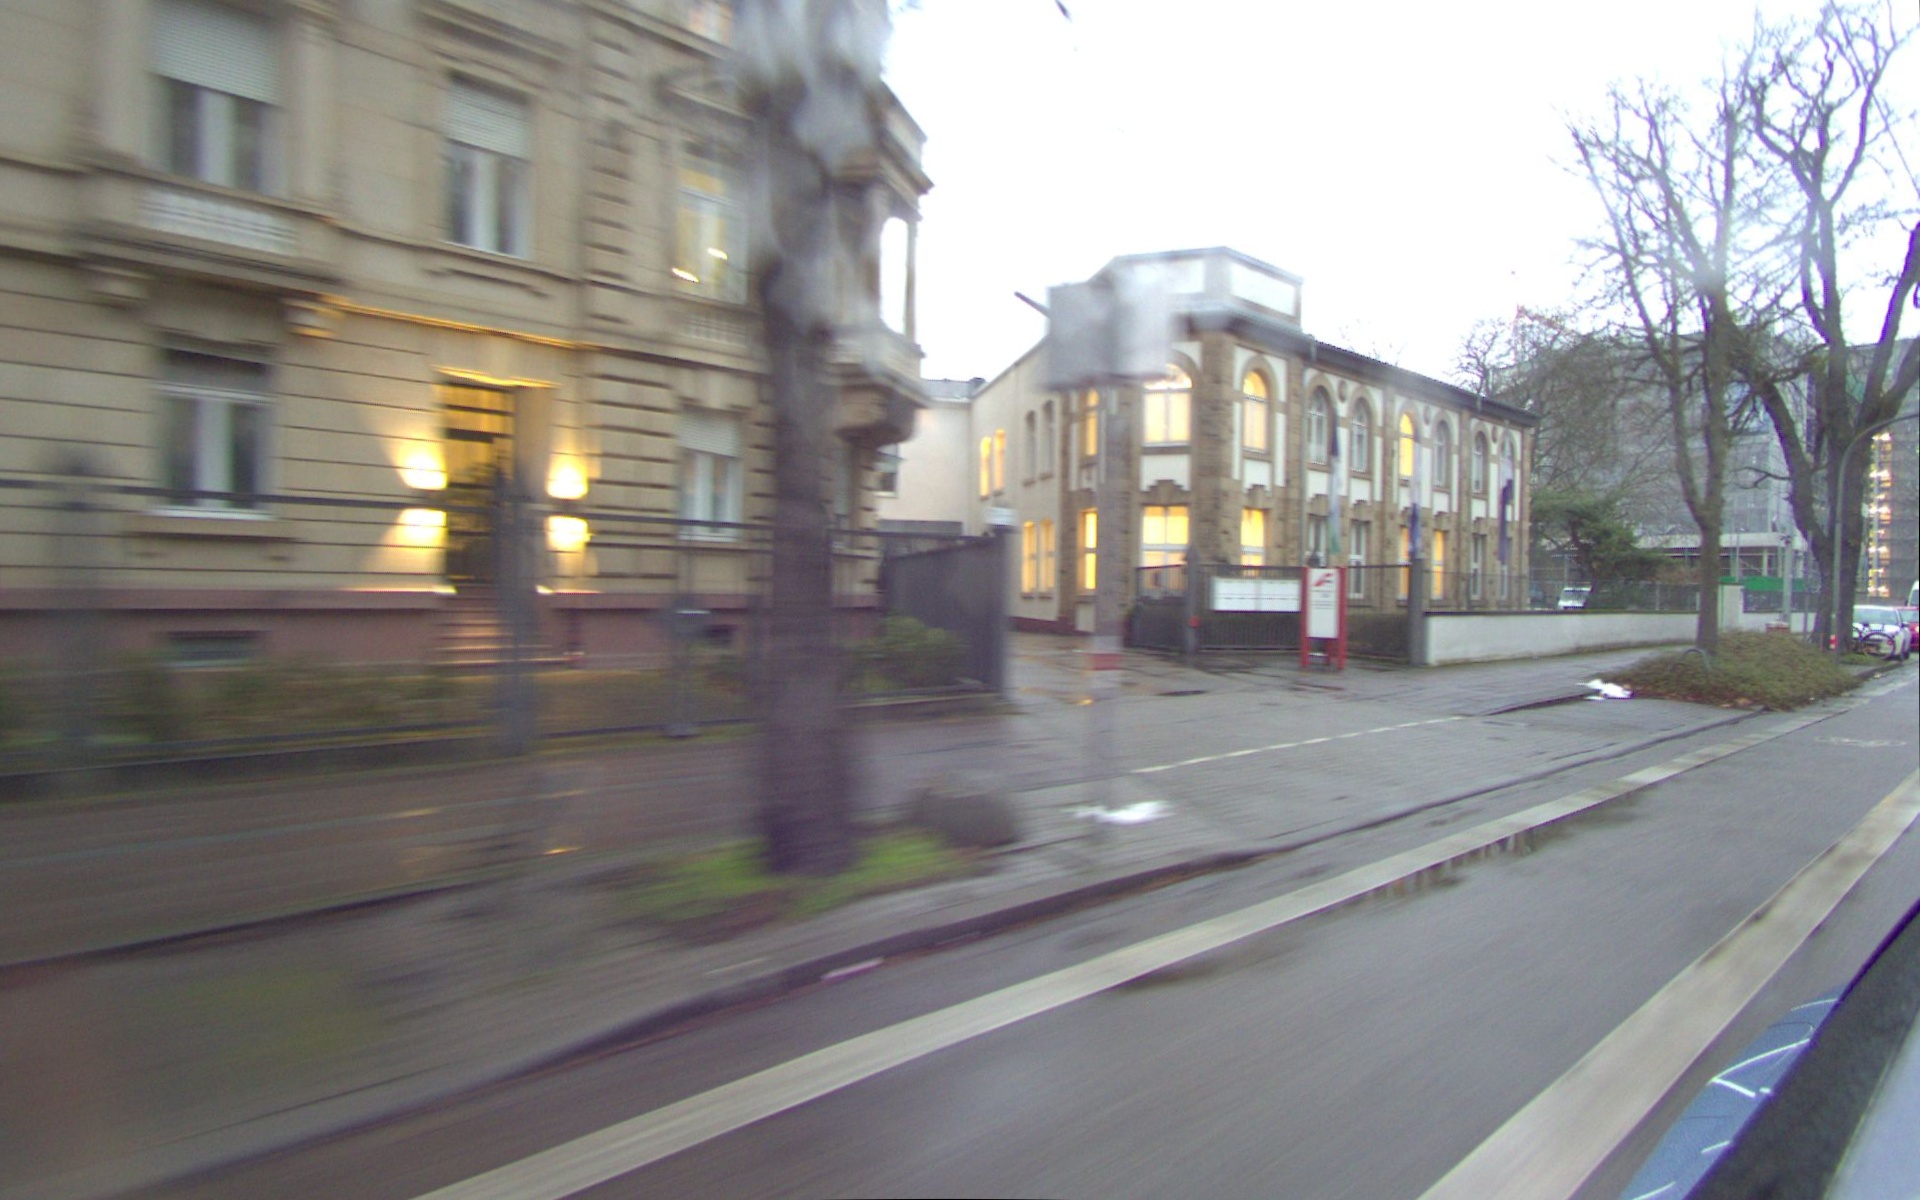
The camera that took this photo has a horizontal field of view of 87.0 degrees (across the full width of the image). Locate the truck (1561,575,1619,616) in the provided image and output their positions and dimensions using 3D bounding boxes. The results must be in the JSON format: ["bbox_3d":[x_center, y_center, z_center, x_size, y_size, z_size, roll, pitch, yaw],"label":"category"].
[{"bbox_3d":[42.668,-0.363,68.441,2.124,2.620,6.975,2,2,42],"label":"truck"}]

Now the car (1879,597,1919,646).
[{"bbox_3d":[31.903,0.709,33.707,3.512,1.542,1.645,1,0,-43],"label":"car"}]

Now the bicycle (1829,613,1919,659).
[{"bbox_3d":[23.716,0.913,26.227,0.651,1.084,1.716,1,1,-40],"label":"bicycle"}]

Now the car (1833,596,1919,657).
[{"bbox_3d":[25.488,0.692,27.902,3.574,1.539,1.694,1,1,-42],"label":"car"}]

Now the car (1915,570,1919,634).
[{"bbox_3d":[40.551,0.137,41.171,5.347,2.518,2.126,1,1,-43],"label":"car"}]
